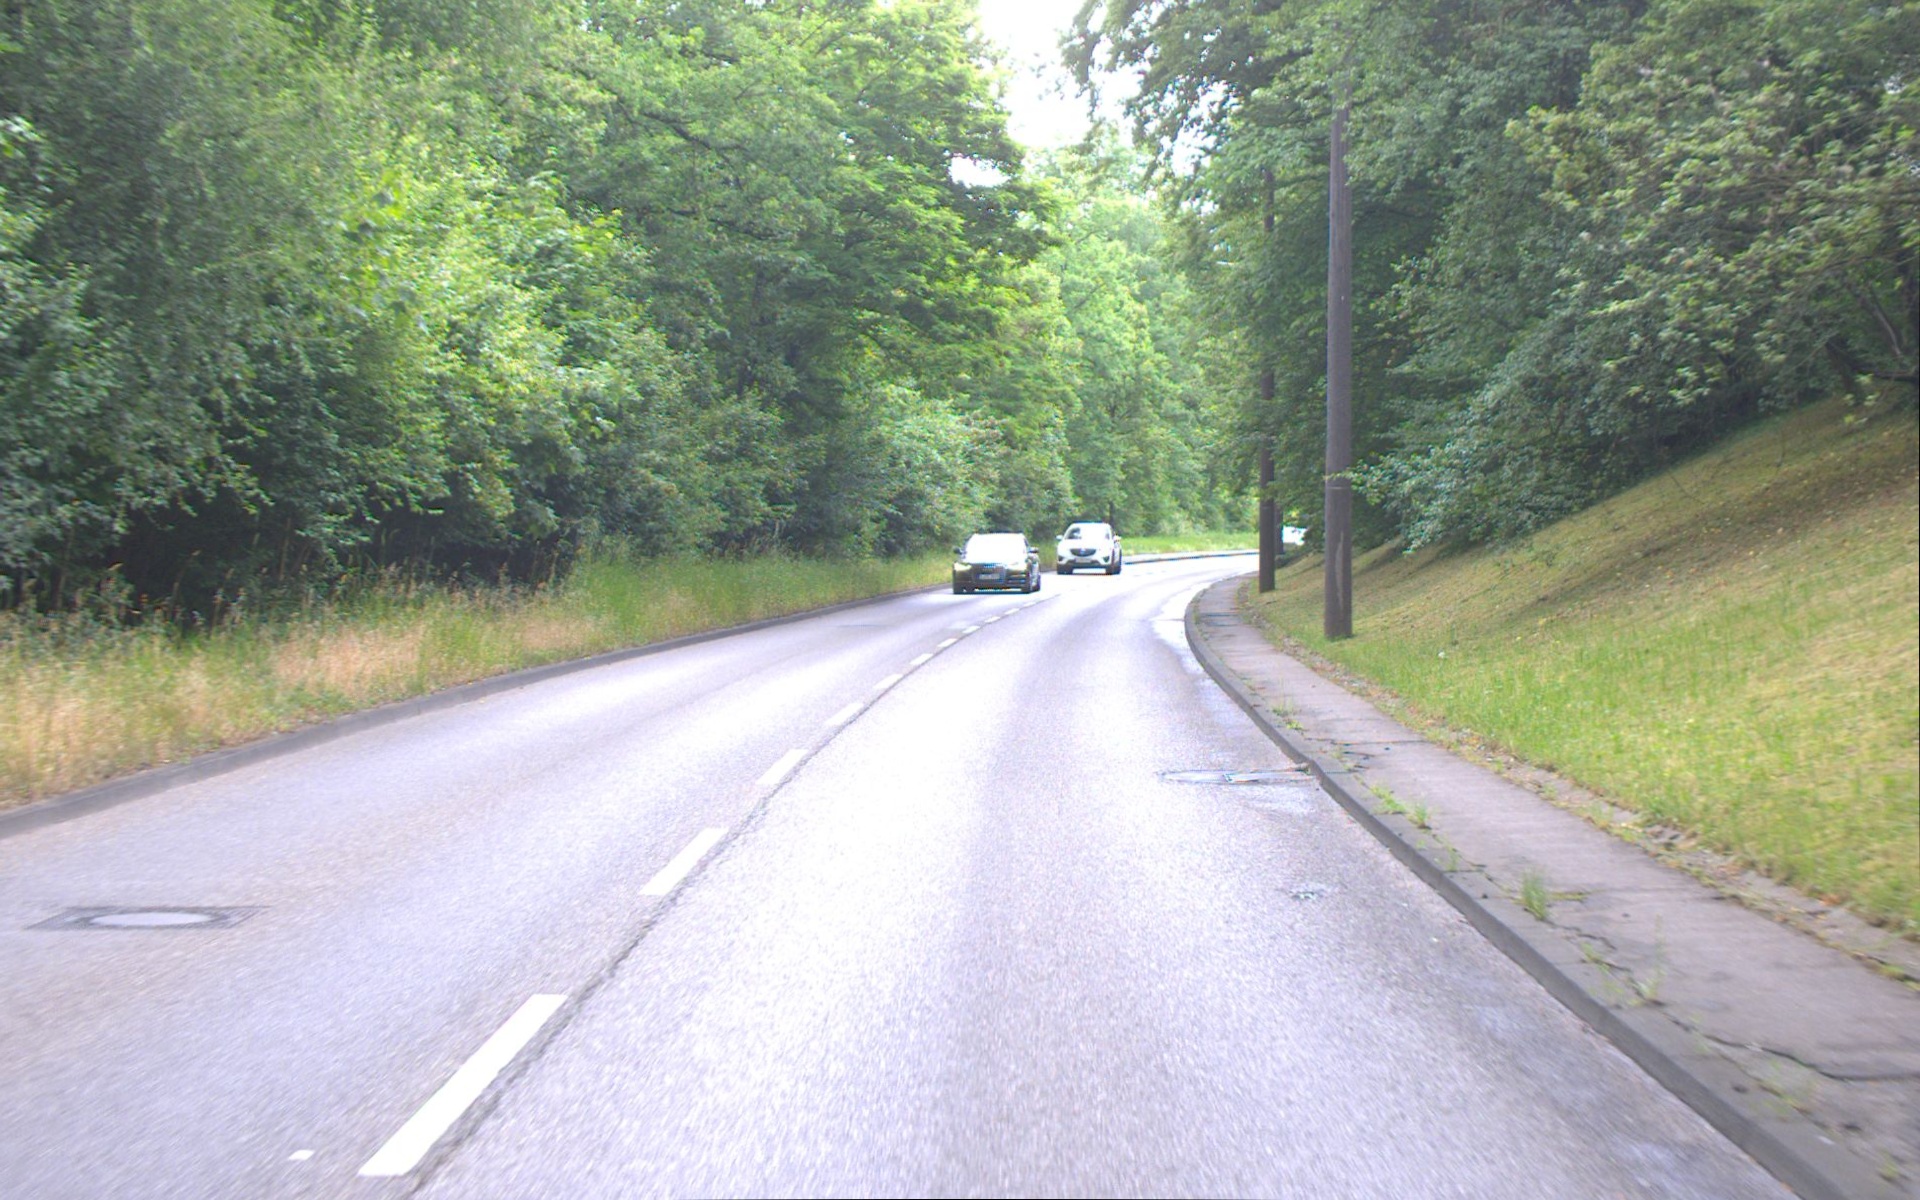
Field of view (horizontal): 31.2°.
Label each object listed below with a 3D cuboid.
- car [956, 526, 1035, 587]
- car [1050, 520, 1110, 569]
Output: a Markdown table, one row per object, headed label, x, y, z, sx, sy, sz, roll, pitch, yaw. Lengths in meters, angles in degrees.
| label | x | y | z | sx | sy | sz | roll | pitch | yaw |
| --- | --- | --- | --- | --- | --- | --- | --- | --- | --- |
| car | 0.873 | -1.051 | 82.227 | 1.810 | 1.415 | 4.000 | 0 | 1 | 2 |
| car | 3.932 | -1.843 | 113.011 | 1.942 | 1.575 | 4.440 | 0 | 1 | 2 |
